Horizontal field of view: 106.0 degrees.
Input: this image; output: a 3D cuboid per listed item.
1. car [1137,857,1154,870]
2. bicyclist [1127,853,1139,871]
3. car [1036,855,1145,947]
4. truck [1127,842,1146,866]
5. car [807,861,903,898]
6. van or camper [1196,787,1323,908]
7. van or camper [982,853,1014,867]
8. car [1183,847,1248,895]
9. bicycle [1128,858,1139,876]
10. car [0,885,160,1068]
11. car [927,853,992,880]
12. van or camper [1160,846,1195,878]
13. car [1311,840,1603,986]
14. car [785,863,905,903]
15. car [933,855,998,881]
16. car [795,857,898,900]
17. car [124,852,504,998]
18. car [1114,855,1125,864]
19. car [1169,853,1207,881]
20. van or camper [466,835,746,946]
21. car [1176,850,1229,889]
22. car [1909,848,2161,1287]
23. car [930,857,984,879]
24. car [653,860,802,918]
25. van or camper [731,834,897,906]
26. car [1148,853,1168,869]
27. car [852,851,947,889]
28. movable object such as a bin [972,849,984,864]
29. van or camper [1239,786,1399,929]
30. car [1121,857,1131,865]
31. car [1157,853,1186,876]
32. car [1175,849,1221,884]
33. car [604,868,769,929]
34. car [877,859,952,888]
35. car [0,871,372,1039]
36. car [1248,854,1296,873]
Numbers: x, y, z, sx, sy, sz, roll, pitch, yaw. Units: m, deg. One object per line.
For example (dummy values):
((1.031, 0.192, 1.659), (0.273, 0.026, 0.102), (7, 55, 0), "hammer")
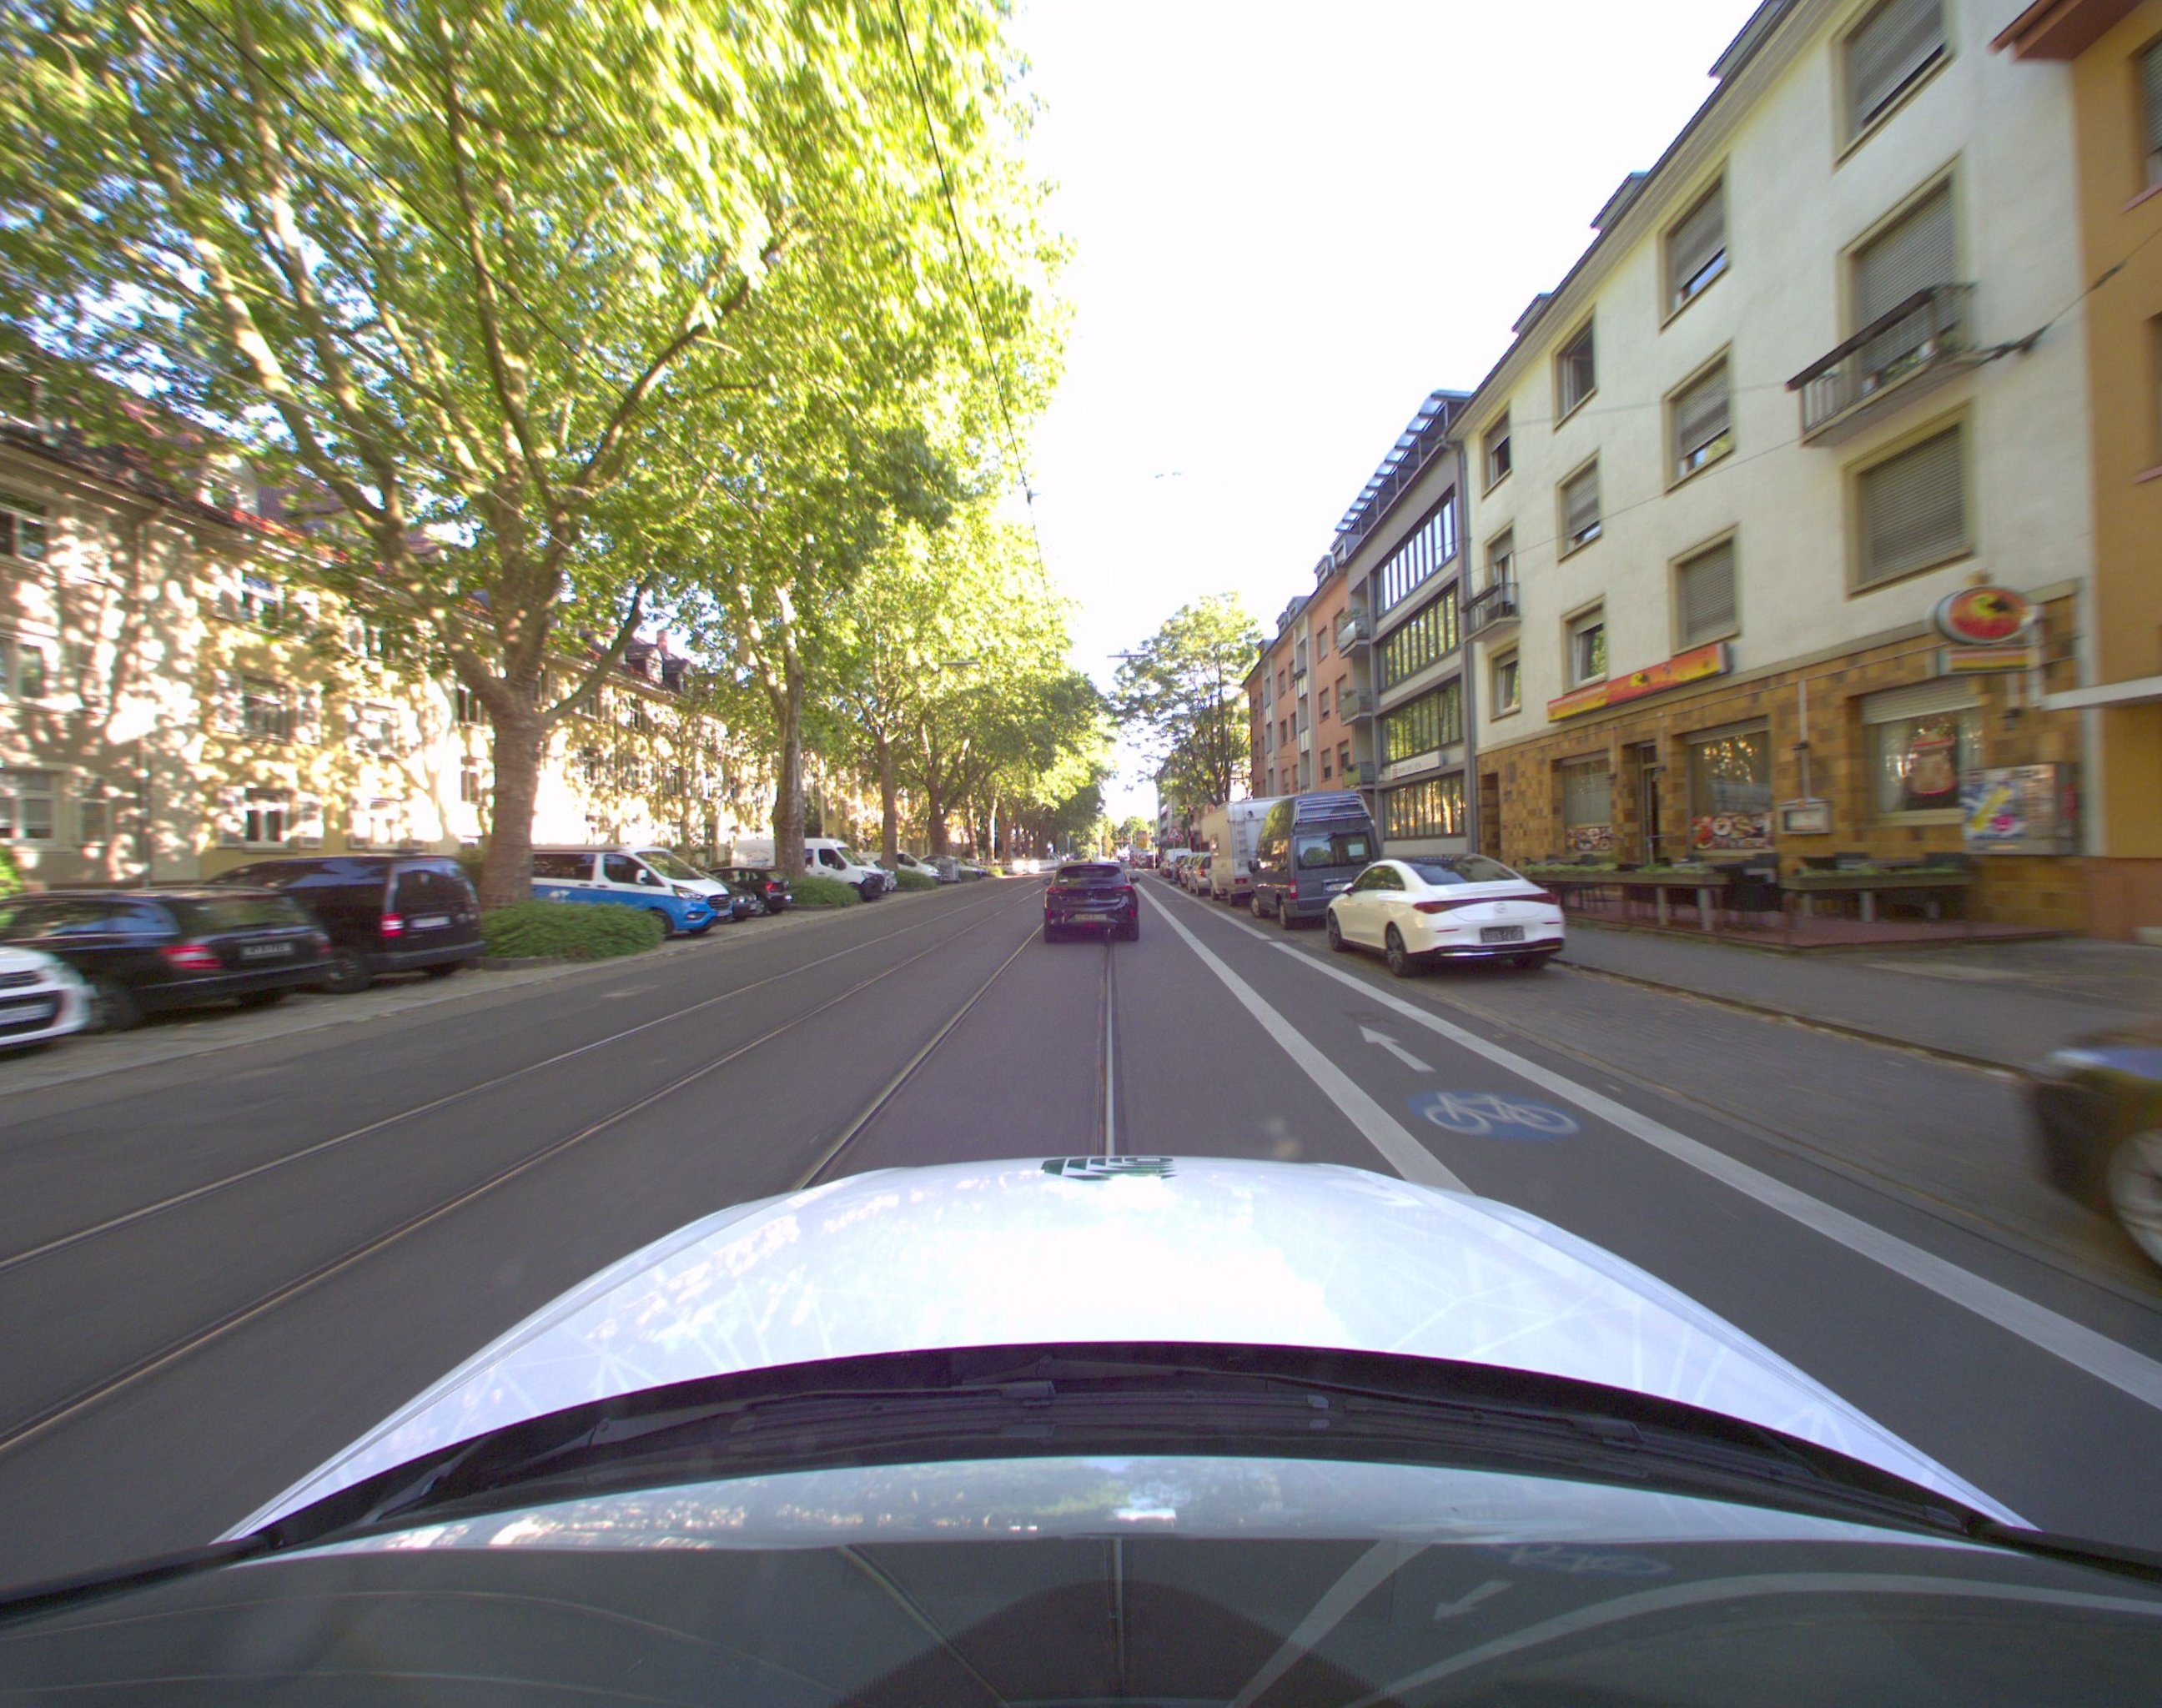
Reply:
((7.508, 1.088, 95.693), (1.653, 1.399, 4.741), (-4, 0, 2), "car")
((4.773, 0.723, 74.995), (1.085, 1.647, 1.401), (-1, 0, 2), "bicyclist")
((0.212, 0.786, 15.509), (1.775, 1.496, 4.001), (-1, 0, 2), "car")
((8.344, 0.095, 123.586), (2.528, 3.338, 7.199), (-4, -1, 2), "truck")
((-10.383, 1.166, 37.578), (3.832, 1.498, 1.863), (-2, 0, 2), "car")
((5.173, -0.160, 24.703), (2.453, 3.064, 6.270), (-4, 0, 2), "van or camper")
((-14.975, 1.100, 146.979), (5.475, 2.379, 2.273), (-1, -1, 5), "van or camper")
((5.075, 0.611, 31.181), (1.786, 1.628, 4.278), (-4, 0, 2), "car")
((4.864, 1.176, 74.946), (0.912, 1.561, 3.407), (-1, 0, 3), "bicycle")
((-10.876, 1.080, 7.030), (3.676, 1.485, 1.699), (-1, 0, -5), "car")
((-8.478, 0.874, 57.044), (4.181, 1.757, 1.741), (-1, 0, 3), "car")
((6.142, 0.502, 52.174), (1.748, 1.864, 4.832), (-2, 0, 2), "van or camper")
((4.828, 0.656, 11.391), (1.986, 1.493, 4.742), (-4, 0, 2), "car")
((-9.525, 1.164, 33.077), (4.248, 1.399, 1.754), (-2, 0, 2), "car")
((-8.385, 1.021, 59.282), (4.210, 1.688, 1.938), (-2, 0, 8), "car")
((-10.101, 1.050, 35.248), (3.832, 1.663, 1.863), (-2, 0, 2), "car")
((-10.524, 0.920, 11.378), (3.669, 1.815, 1.705), (-1, 0, 1), "car")
((7.967, 1.221, 168.419), (1.986, 1.695, 4.741), (-4, 0, 2), "car")
((6.103, 0.691, 46.612), (1.699, 1.473, 4.169), (-2, 0, 2), "car")
((-10.221, 0.747, 17.855), (4.807, 2.190, 2.118), (-1, 0, -2), "van or camper")
((5.356, 0.645, 36.363), (1.781, 1.522, 4.323), (-4, 0, 2), "car")
((4.440, 0.661, 1.031), (1.986, 1.380, 4.741), (-4, 0, 2), "car")
((-9.652, 1.083, 63.501), (3.832, 1.498, 1.863), (-2, 0, 2), "car")
((-10.402, 1.013, 24.102), (3.665, 1.565, 1.615), (-1, 0, 4), "car")
((-10.001, 0.581, 30.834), (5.366, 2.516, 2.447), (-1, 0, 3), "van or camper")
((7.739, 0.707, 82.267), (1.727, 1.462, 3.917), (-4, 0, 1), "car")
((-9.708, 0.838, 43.871), (4.644, 1.945, 1.960), (-1, 0, -2), "car")
((-13.311, 0.296, 105.296), (1.328, 1.869, 2.008), (-1, -1, 2), "movable object such as a bin")
((5.105, 0.074, 18.345), (2.124, 2.663, 4.981), (-4, 0, 2), "van or camper")
((9.866, 1.493, 180.203), (1.986, 1.695, 4.741), (-4, 0, 2), "car")
((6.413, 0.735, 58.217), (1.699, 1.473, 4.002), (-2, 0, 2), "car")
((5.892, 0.627, 41.534), (1.761, 1.572, 4.338), (-4, 0, 2), "car")
((-10.405, 1.151, 21.688), (3.524, 1.459, 1.693), (-1, 0, -5), "car")
((-9.513, 1.108, 46.747), (3.832, 1.498, 1.863), (-2, 0, 2), "car")
((-10.674, 1.060, 9.172), (3.674, 1.624, 1.797), (-1, 0, -4), "car")
((17.183, 0.849, 73.308), (3.900, 1.482, 1.562), (-2, 2, 0), "car")
